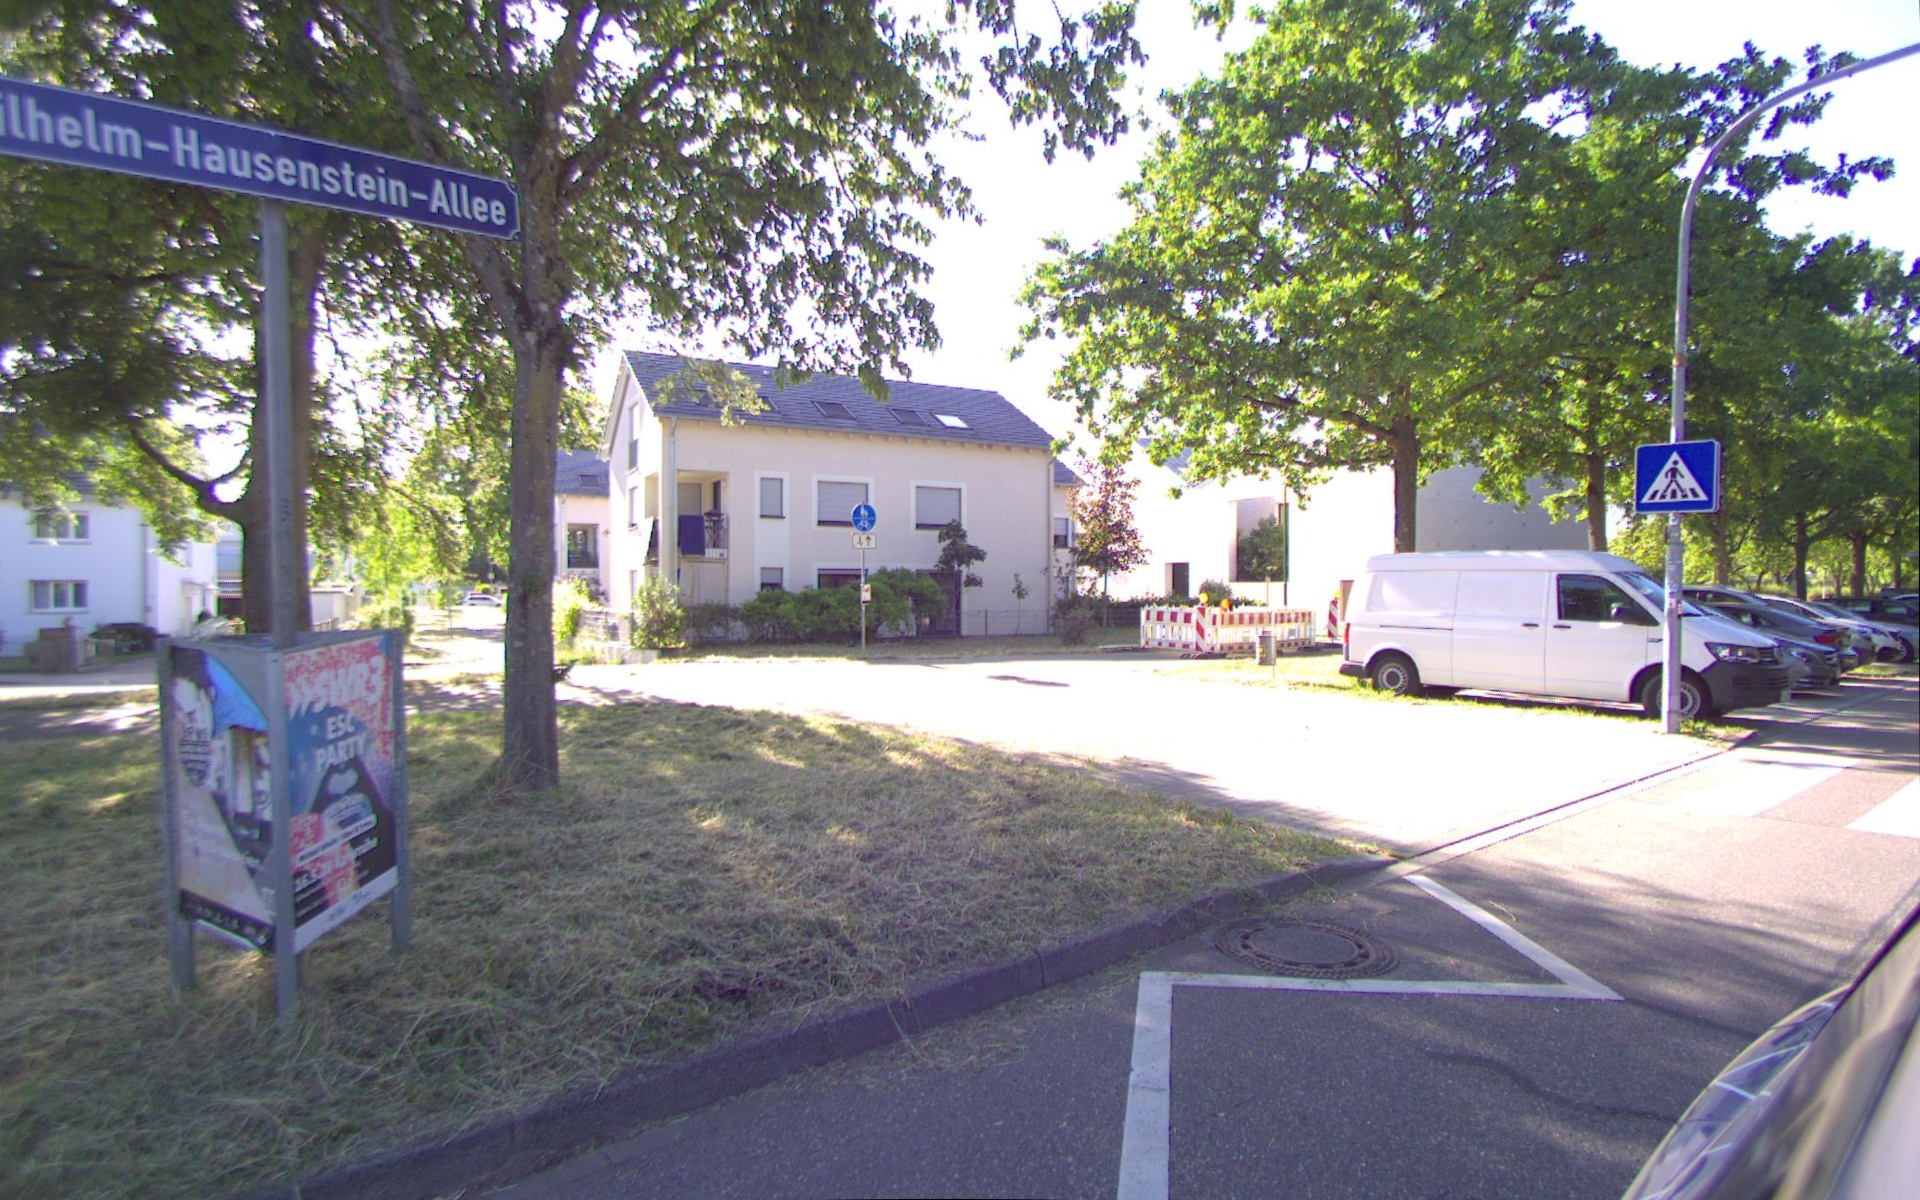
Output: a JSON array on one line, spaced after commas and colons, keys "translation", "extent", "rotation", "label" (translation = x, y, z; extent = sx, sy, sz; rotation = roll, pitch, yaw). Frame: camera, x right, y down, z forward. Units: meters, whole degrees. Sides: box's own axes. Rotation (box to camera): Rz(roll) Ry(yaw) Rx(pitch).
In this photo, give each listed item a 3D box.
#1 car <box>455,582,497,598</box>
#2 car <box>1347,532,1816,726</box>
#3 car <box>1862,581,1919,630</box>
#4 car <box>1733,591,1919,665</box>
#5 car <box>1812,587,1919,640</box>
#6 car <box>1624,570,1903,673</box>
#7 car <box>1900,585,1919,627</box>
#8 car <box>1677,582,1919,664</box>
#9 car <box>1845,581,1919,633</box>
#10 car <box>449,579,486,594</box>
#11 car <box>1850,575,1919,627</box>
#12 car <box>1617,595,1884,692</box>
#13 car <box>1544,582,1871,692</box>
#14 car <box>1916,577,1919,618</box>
[{"translation": [-62.337, -1.307, 130.360], "extent": [4.543, 2.039, 1.995], "rotation": [0, 0, -43], "label": "car"}, {"translation": [8.010, 0.266, 13.560], "extent": [1.857, 2.107, 5.045], "rotation": [0, 1, -39], "label": "car"}, {"translation": [35.996, 0.192, 36.937], "extent": [1.504, 1.765, 4.396], "rotation": [0, 0, -37], "label": "car"}, {"translation": [21.515, 0.628, 24.635], "extent": [1.504, 1.681, 4.020], "rotation": [0, 0, -37], "label": "car"}, {"translation": [30.423, 0.432, 32.541], "extent": [1.504, 1.662, 4.396], "rotation": [0, 0, -37], "label": "car"}, {"translation": [15.701, 0.379, 19.974], "extent": [1.681, 1.816, 4.020], "rotation": [0, 0, -37], "label": "car"}, {"translation": [41.437, 0.230, 41.253], "extent": [1.504, 1.765, 4.396], "rotation": [0, 0, -37], "label": "car"}, {"translation": [18.992, 0.489, 23.083], "extent": [1.504, 1.700, 4.020], "rotation": [0, 0, -37], "label": "car"}, {"translation": [32.944, 0.228, 34.156], "extent": [1.504, 1.765, 4.396], "rotation": [0, 0, -37], "label": "car"}, {"translation": [-68.360, -1.921, 140.539], "extent": [4.524, 2.039, 2.003], "rotation": [0, 0, -24], "label": "car"}, {"translation": [37.908, 0.029, 39.621], "extent": [1.504, 2.013, 4.396], "rotation": [0, 0, -37], "label": "car"}, {"translation": [13.996, 0.707, 18.092], "extent": [1.421, 1.561, 3.517], "rotation": [0, 0, -37], "label": "car"}, {"translation": [12.114, 0.532, 16.635], "extent": [1.725, 1.583, 3.997], "rotation": [0, 0, -37], "label": "car"}, {"translation": [43.365, -0.109, 42.572], "extent": [1.504, 1.765, 4.396], "rotation": [0, 0, -37], "label": "car"}]
